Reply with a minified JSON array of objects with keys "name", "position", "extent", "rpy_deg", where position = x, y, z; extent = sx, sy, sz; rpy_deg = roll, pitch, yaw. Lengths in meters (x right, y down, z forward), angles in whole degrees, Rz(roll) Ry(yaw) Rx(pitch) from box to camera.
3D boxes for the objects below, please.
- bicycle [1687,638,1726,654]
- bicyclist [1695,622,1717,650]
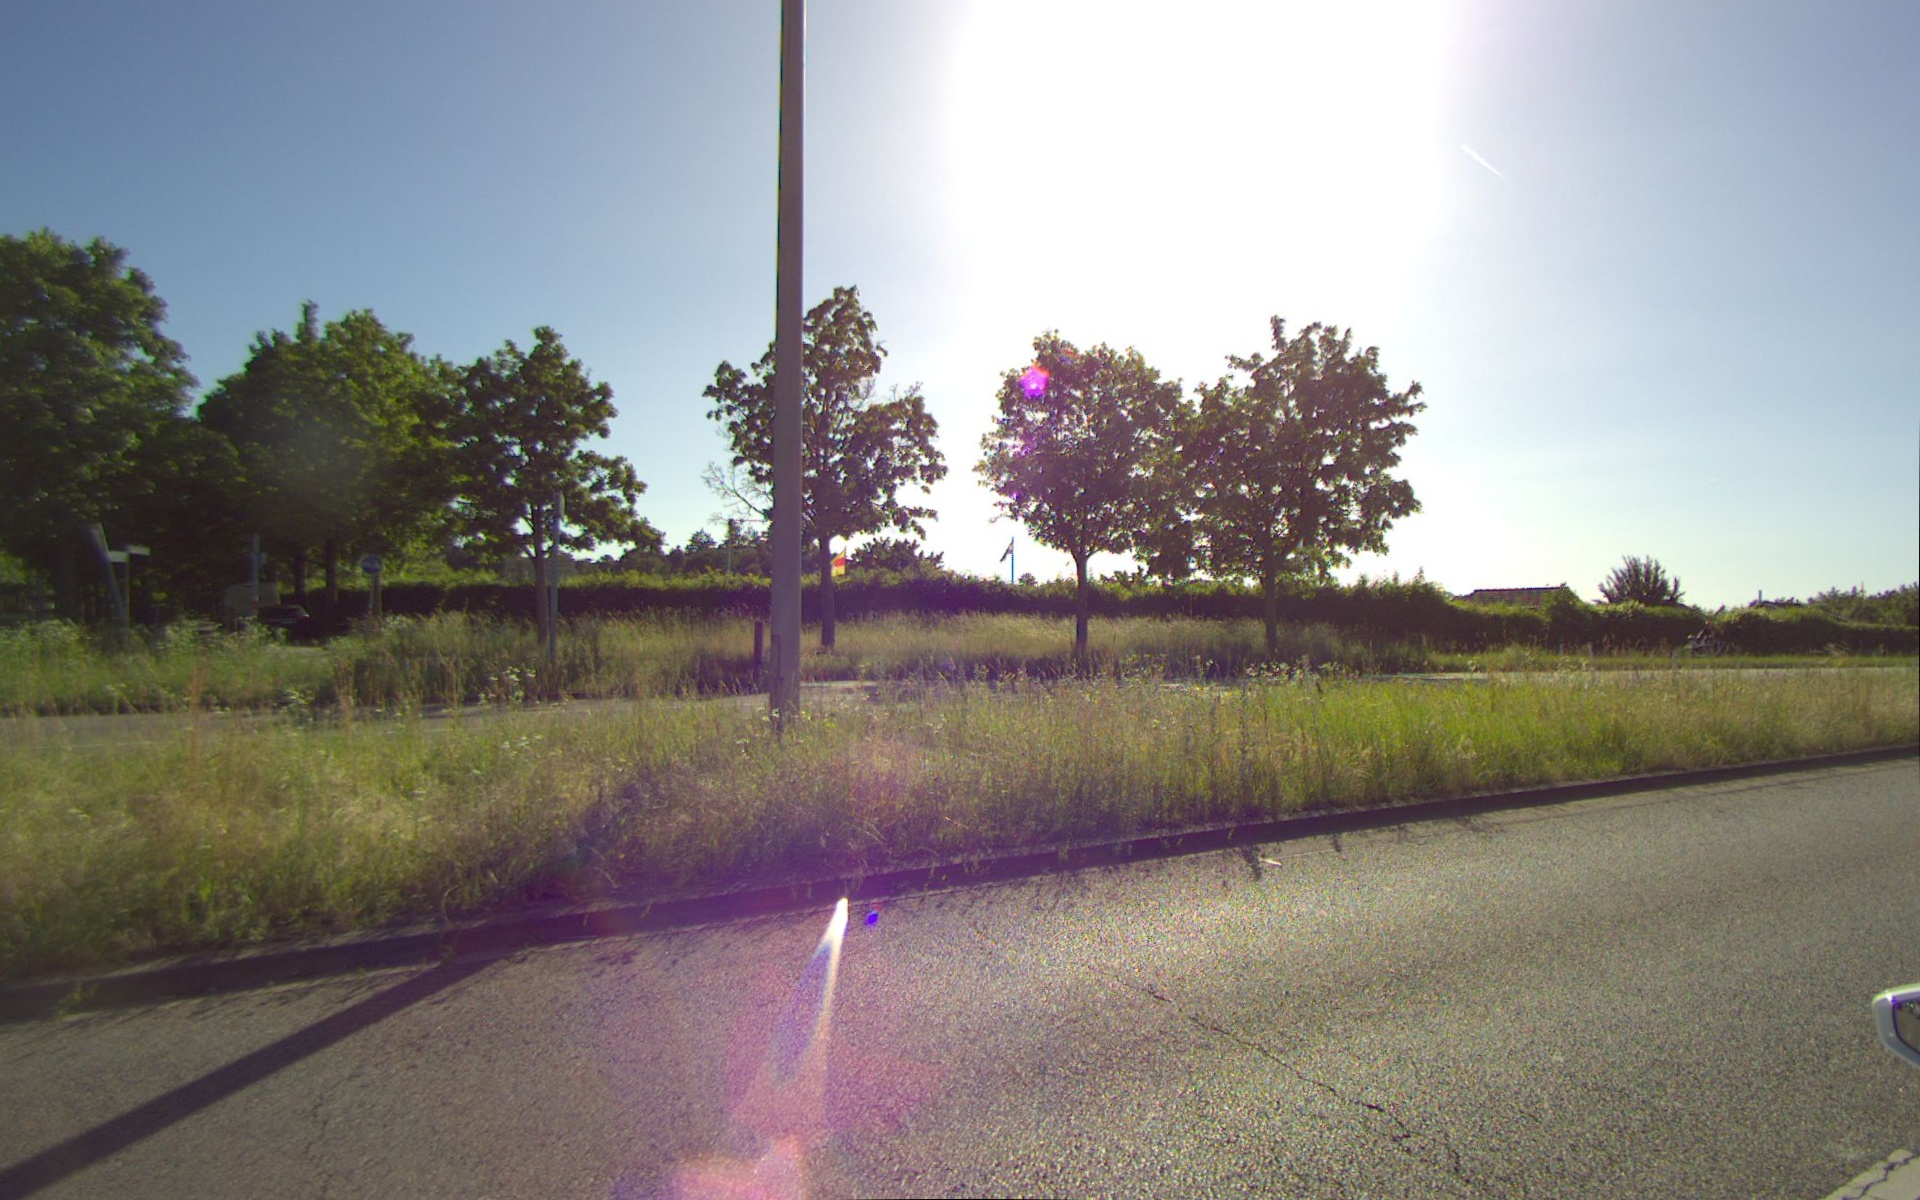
[{"name":"bicycle","position":[34.411,2.136,46.275],"extent":[1.847,0.704,0.564],"rpy_deg":[1,0,-22]},{"name":"bicyclist","position":[34.333,1.655,46.244],"extent":[0.567,1.273,0.582],"rpy_deg":[1,0,-21]}]
